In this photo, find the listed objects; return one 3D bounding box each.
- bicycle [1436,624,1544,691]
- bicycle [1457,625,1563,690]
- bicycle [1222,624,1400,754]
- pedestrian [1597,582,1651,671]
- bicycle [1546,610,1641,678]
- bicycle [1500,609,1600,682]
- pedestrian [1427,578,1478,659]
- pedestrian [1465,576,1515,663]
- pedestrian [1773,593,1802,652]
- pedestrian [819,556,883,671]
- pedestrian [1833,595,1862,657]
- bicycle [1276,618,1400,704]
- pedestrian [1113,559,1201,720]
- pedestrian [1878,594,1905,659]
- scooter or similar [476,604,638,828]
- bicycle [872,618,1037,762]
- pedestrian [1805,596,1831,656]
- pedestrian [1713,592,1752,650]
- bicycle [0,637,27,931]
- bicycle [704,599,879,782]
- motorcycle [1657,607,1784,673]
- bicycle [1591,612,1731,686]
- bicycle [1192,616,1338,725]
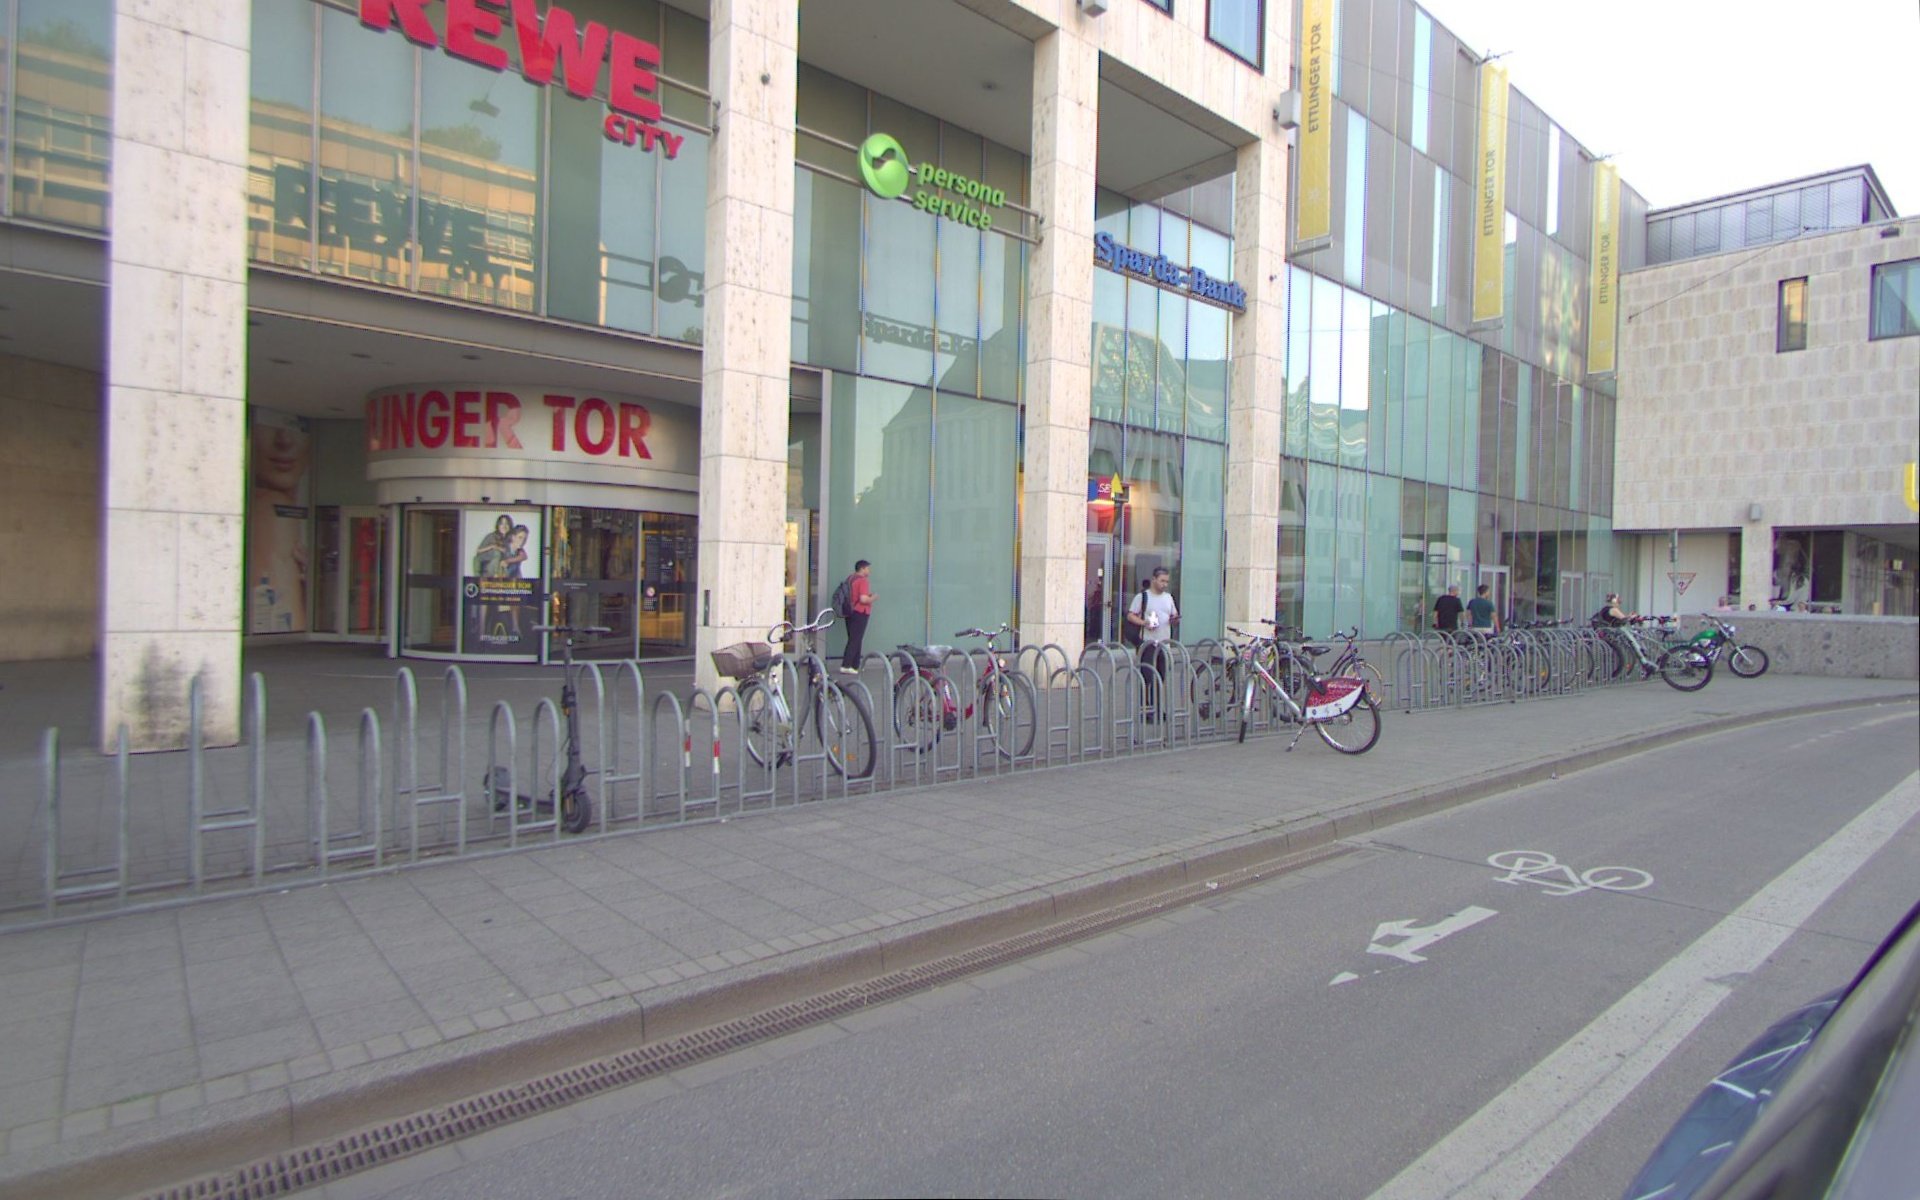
[{"bbox_3d":[7.943,0.845,15.210,0.509,0.944,1.344,1,-2,-41],"label":"bicycle"},{"bbox_3d":[8.454,0.857,15.589,0.509,0.944,1.344,1,-2,-41],"label":"bicycle"},{"bbox_3d":[3.169,0.763,9.251,0.458,1.077,1.518,1,-2,-39],"label":"bicycle"},{"bbox_3d":[12.751,0.491,19.459,0.802,1.663,0.640,2,1,31],"label":"pedestrian"},{"bbox_3d":[11.393,0.772,18.223,0.509,1.179,1.344,1,-2,-41],"label":"bicycle"},{"bbox_3d":[9.830,0.739,16.899,0.509,1.179,1.344,1,-2,-41],"label":"bicycle"},{"bbox_3d":[10.417,0.376,21.394,0.738,1.668,0.808,2,1,41],"label":"pedestrian"},{"bbox_3d":[10.882,0.385,20.770,0.696,1.717,0.808,2,1,41],"label":"pedestrian"},{"bbox_3d":[25.021,0.673,30.598,0.644,1.765,0.494,1,1,-38],"label":"pedestrian"},{"bbox_3d":[-1.638,0.189,15.197,0.695,1.672,0.629,1,1,-40],"label":"pedestrian"},{"bbox_3d":[25.650,0.737,29.247,0.483,1.765,0.504,1,1,-38],"label":"pedestrian"},{"bbox_3d":[5.011,0.783,13.454,1.439,1.078,0.572,-1,-2,39],"label":"bicycle"},{"bbox_3d":[2.186,0.415,11.264,0.617,1.713,0.708,1,1,-32],"label":"pedestrian"},{"bbox_3d":[25.590,0.720,27.800,0.483,1.765,0.455,1,1,-38],"label":"pedestrian"},{"bbox_3d":[-2.520,0.655,6.279,0.484,1.214,1.194,1,1,-44],"label":"scooter or similar"},{"bbox_3d":[-0.076,0.716,8.673,0.543,1.120,1.516,1,-2,-43],"label":"bicycle"},{"bbox_3d":[25.993,0.778,30.659,0.483,1.765,0.455,1,1,-38],"label":"pedestrian"},{"bbox_3d":[24.158,0.651,31.647,0.644,1.765,0.794,1,1,-38],"label":"pedestrian"},{"bbox_3d":[-4.556,0.735,4.481,1.768,1.092,0.475,3,1,43],"label":"bicycle"},{"bbox_3d":[-1.308,0.629,7.670,0.607,1.243,1.517,1,-2,-41],"label":"bicycle"},{"bbox_3d":[15.578,0.793,20.770,0.472,1.239,2.004,1,1,-43],"label":"motorcycle"},{"bbox_3d":[11.564,0.777,16.748,0.458,1.161,1.837,1,-2,-39],"label":"bicycle"},{"bbox_3d":[3.377,0.745,11.314,0.569,1.138,1.519,1,-1,-36],"label":"bicycle"}]
